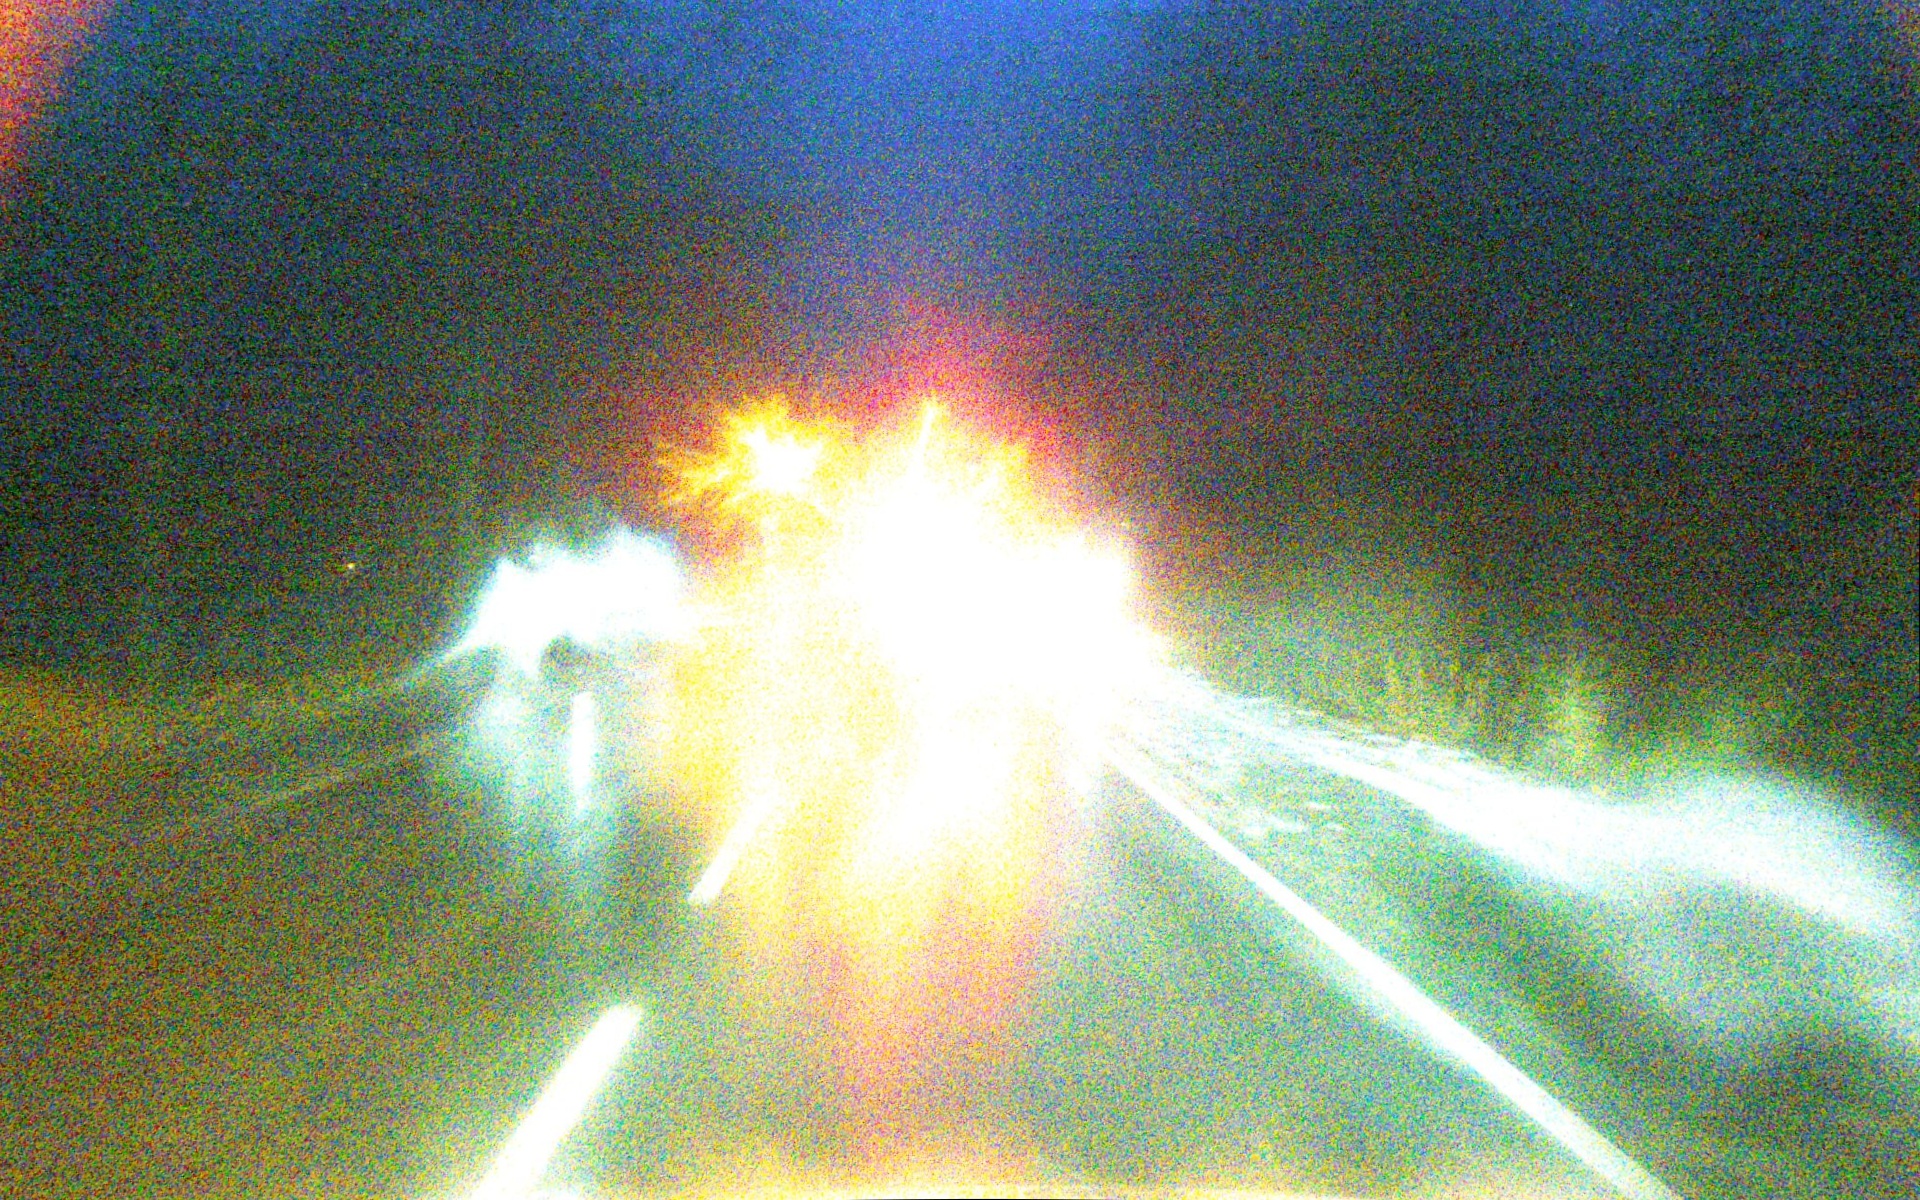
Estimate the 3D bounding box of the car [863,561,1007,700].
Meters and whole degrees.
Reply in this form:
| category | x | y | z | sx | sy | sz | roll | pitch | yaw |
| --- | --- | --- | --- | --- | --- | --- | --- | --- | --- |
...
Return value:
| category | x | y | z | sx | sy | sz | roll | pitch | yaw |
| --- | --- | --- | --- | --- | --- | --- | --- | --- | --- |
| car | -0.289 | 0.346 | 22.255 | 1.754 | 1.710 | 3.905 | 0 | 1 | 0 |
